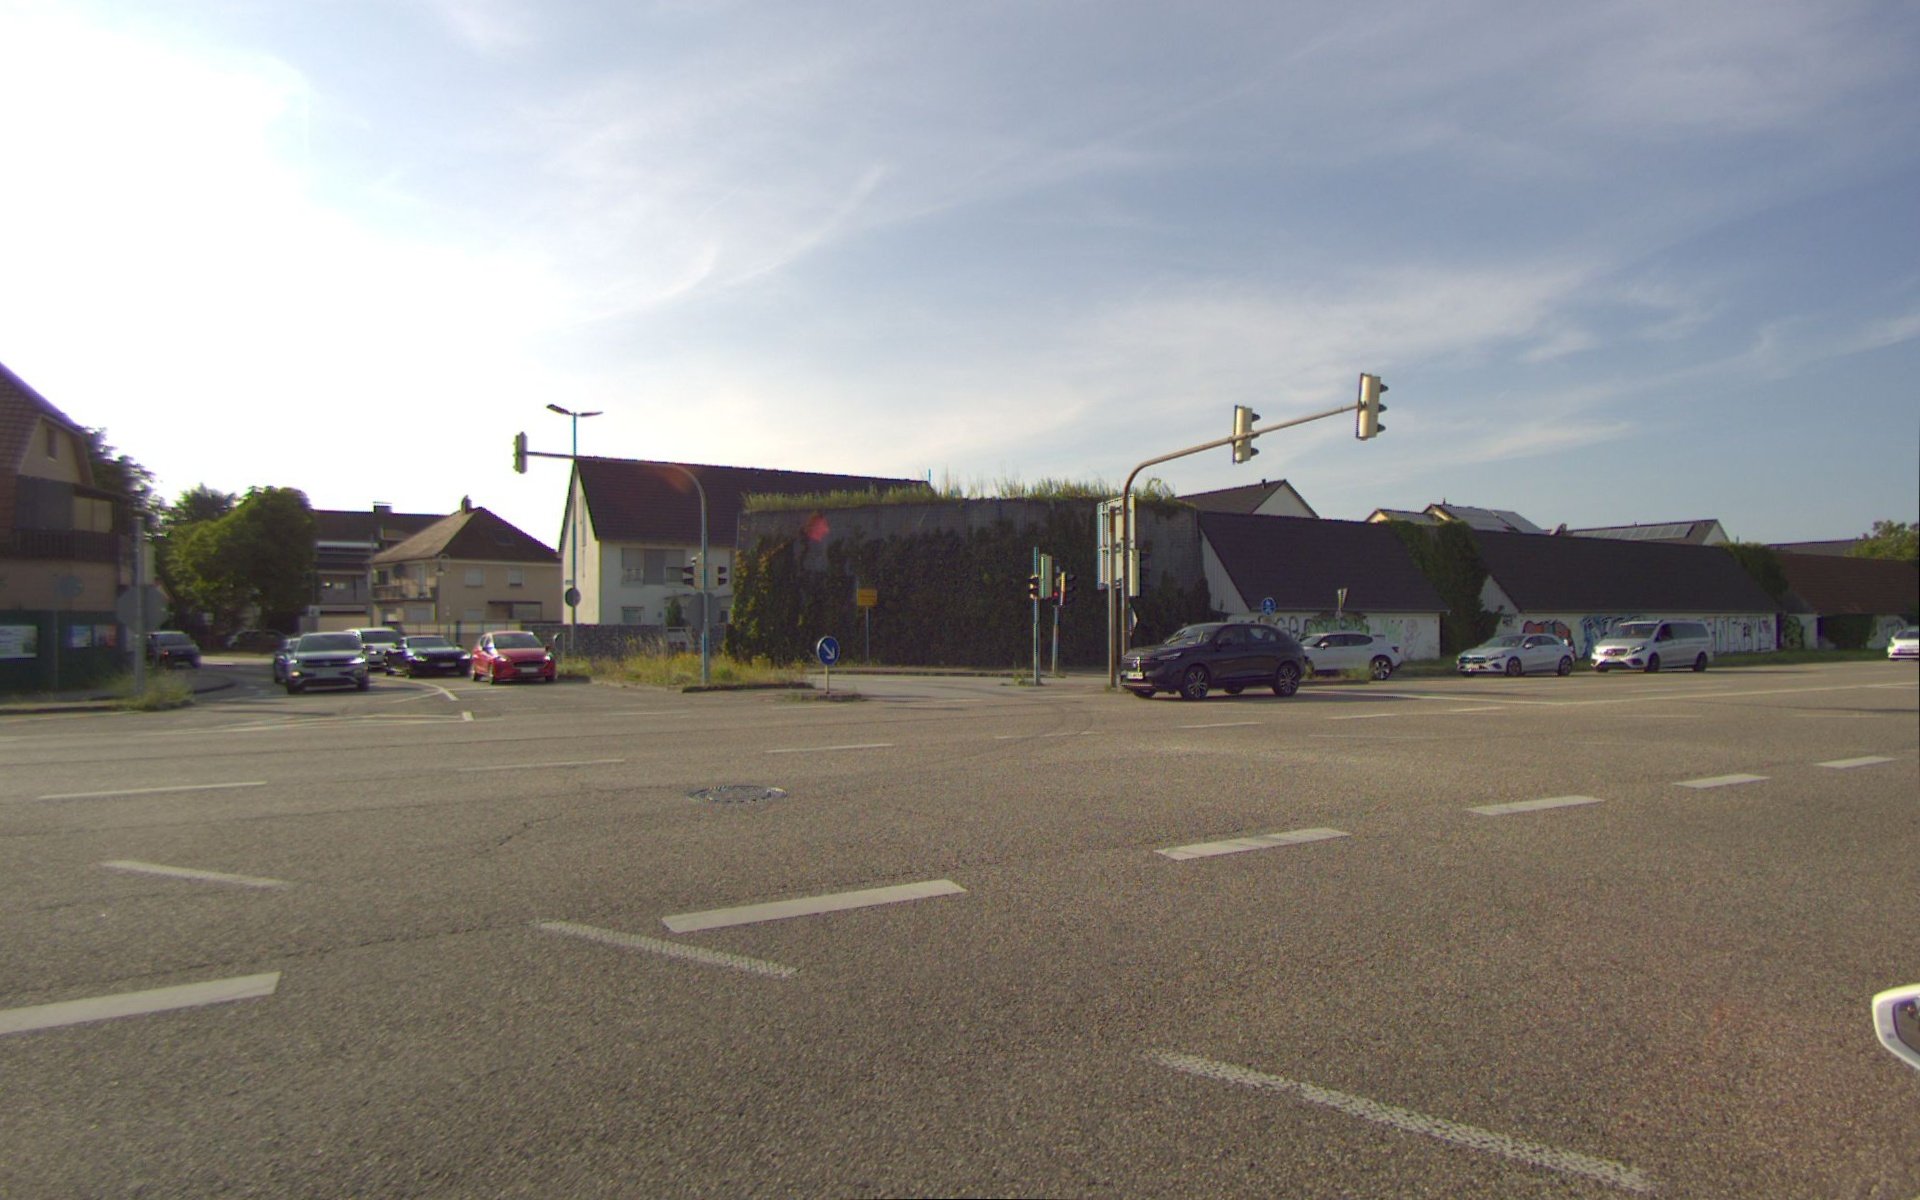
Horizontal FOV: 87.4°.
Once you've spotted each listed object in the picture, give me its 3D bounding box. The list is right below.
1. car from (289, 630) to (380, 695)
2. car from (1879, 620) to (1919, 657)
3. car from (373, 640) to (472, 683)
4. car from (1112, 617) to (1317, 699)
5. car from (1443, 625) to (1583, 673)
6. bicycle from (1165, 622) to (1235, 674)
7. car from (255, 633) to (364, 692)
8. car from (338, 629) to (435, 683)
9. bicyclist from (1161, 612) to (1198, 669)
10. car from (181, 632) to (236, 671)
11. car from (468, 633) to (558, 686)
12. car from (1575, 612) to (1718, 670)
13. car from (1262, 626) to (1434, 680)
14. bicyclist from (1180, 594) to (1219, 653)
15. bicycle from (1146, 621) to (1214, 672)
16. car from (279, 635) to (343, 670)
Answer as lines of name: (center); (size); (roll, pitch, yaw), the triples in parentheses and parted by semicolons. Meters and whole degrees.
car: (-16.522, 1.641, 26.704); (1.736, 1.583, 3.972); (1, -3, -28)
car: (46.840, 1.890, 48.809); (4.700, 1.729, 1.829); (1, -4, -29)
car: (-17.993, 2.028, 33.592); (3.560, 1.193, 1.748); (1, 0, 41)
car: (5.386, 1.191, 21.113); (4.197, 1.561, 1.724); (1, -3, -31)
car: (18.481, 1.660, 33.558); (4.474, 1.517, 1.699); (1, -4, -24)
bicycle: (8.484, 1.679, 35.491); (2.576, 1.772, 0.750); (1, 0, -30)
car: (-20.712, 1.932, 31.926); (3.939, 1.585, 1.817); (1, 0, 40)
car: (-22.403, 2.111, 39.176); (4.119, 1.840, 1.990); (1, 0, 40)
bicyclist: (7.964, 1.466, 36.454); (1.049, 2.040, 0.767); (1, 0, -30)
car: (-33.830, 2.268, 45.175); (1.703, 1.506, 3.796); (1, 0, -41)
car: (-13.175, 1.760, 29.475); (1.626, 1.431, 4.264); (1, -4, -35)
car: (24.749, 1.498, 36.187); (5.384, 1.953, 1.901); (1, -4, -28)
car: (12.059, 1.637, 31.311); (4.678, 1.517, 1.951); (1, 0, -12)
bicyclist: (8.451, 0.813, 35.454); (1.049, 2.040, 0.767); (1, 0, -30)
bicycle: (7.996, 1.671, 36.477); (2.576, 1.772, 0.750); (1, 0, -30)
car: (-31.482, 2.508, 48.694); (3.376, 1.506, 1.777); (1, 0, 42)
